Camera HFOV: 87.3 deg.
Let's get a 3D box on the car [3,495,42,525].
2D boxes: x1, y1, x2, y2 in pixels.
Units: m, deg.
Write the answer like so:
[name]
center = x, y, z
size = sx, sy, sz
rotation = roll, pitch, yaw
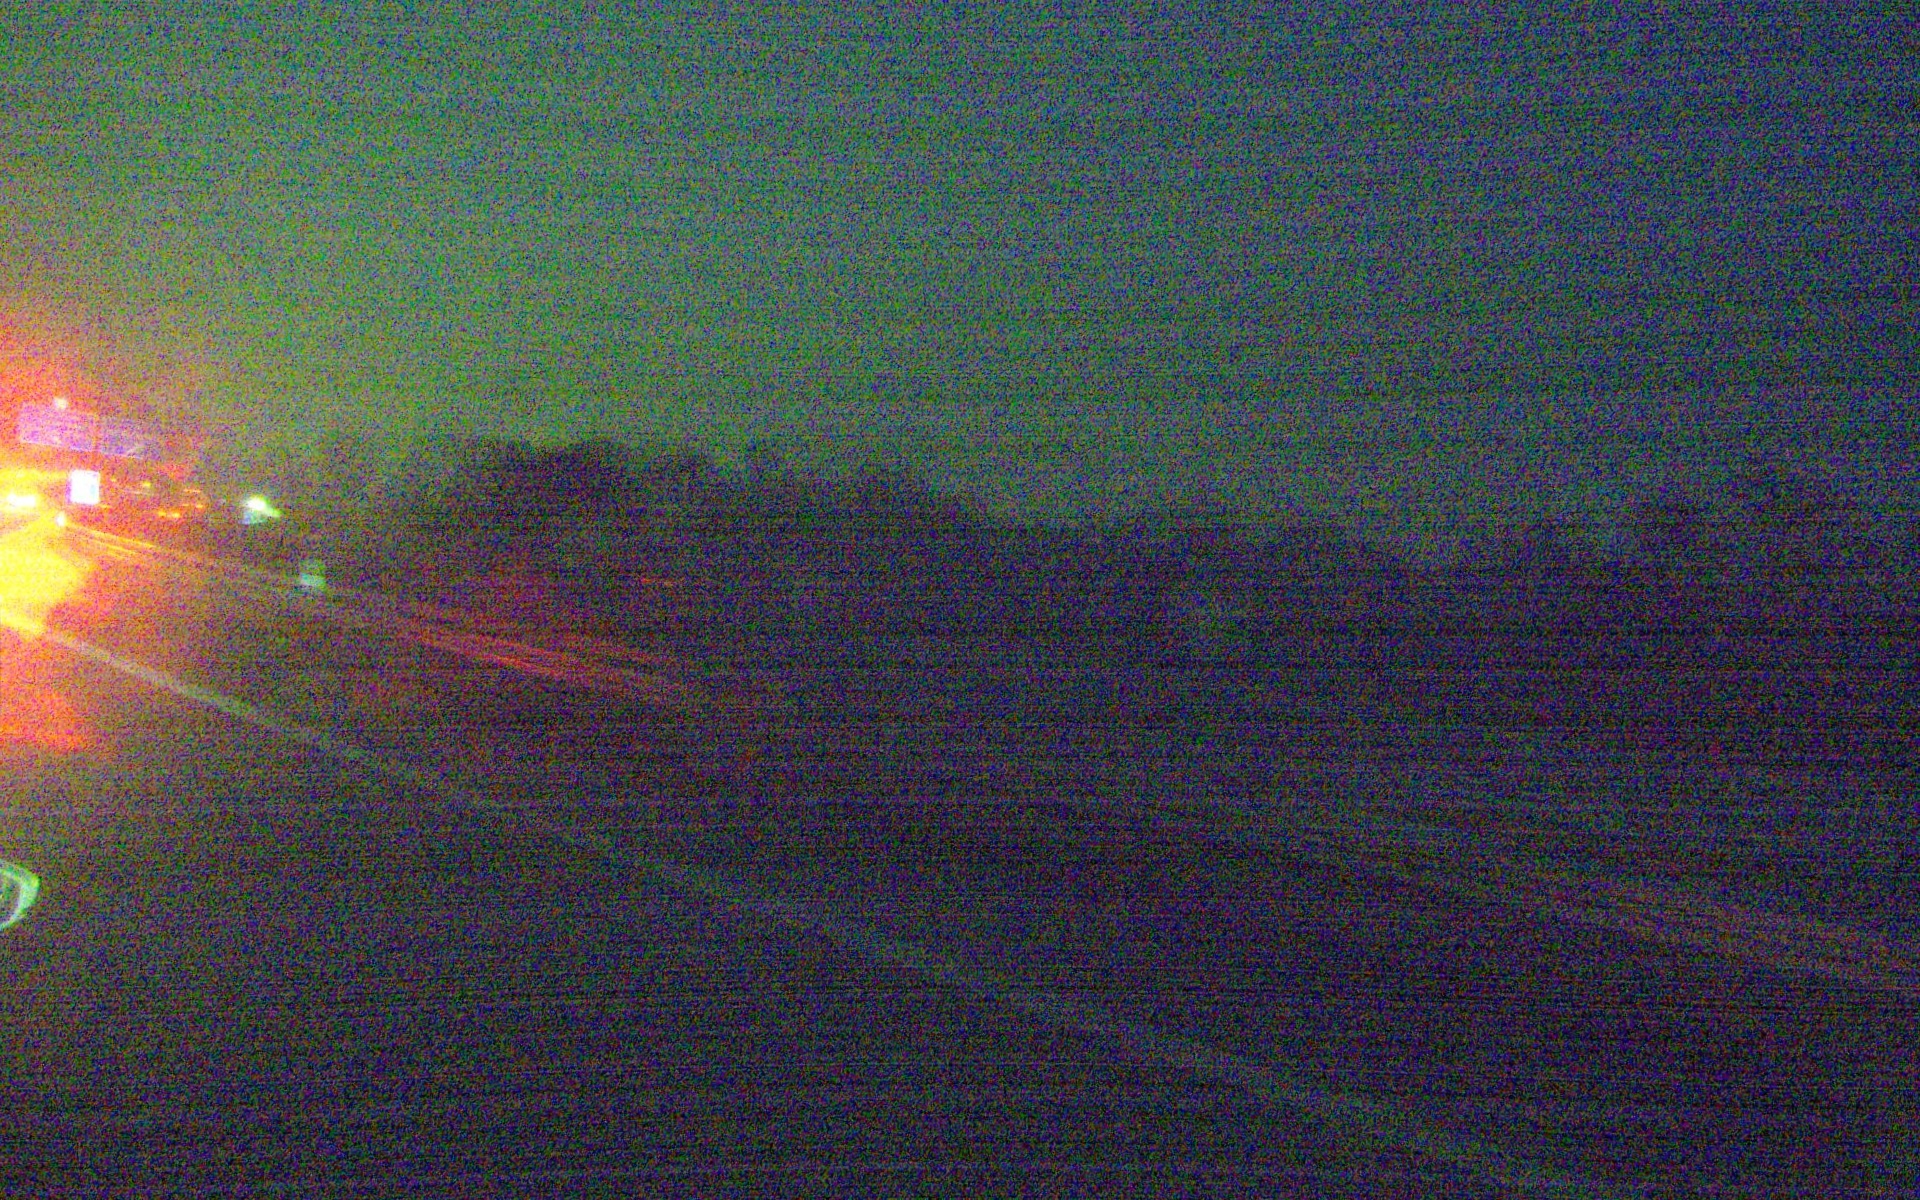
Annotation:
[car]
center = -75.212, -7.190, 80.743
size = 1.887, 2.022, 4.002
rotation = 8, -1, -39
